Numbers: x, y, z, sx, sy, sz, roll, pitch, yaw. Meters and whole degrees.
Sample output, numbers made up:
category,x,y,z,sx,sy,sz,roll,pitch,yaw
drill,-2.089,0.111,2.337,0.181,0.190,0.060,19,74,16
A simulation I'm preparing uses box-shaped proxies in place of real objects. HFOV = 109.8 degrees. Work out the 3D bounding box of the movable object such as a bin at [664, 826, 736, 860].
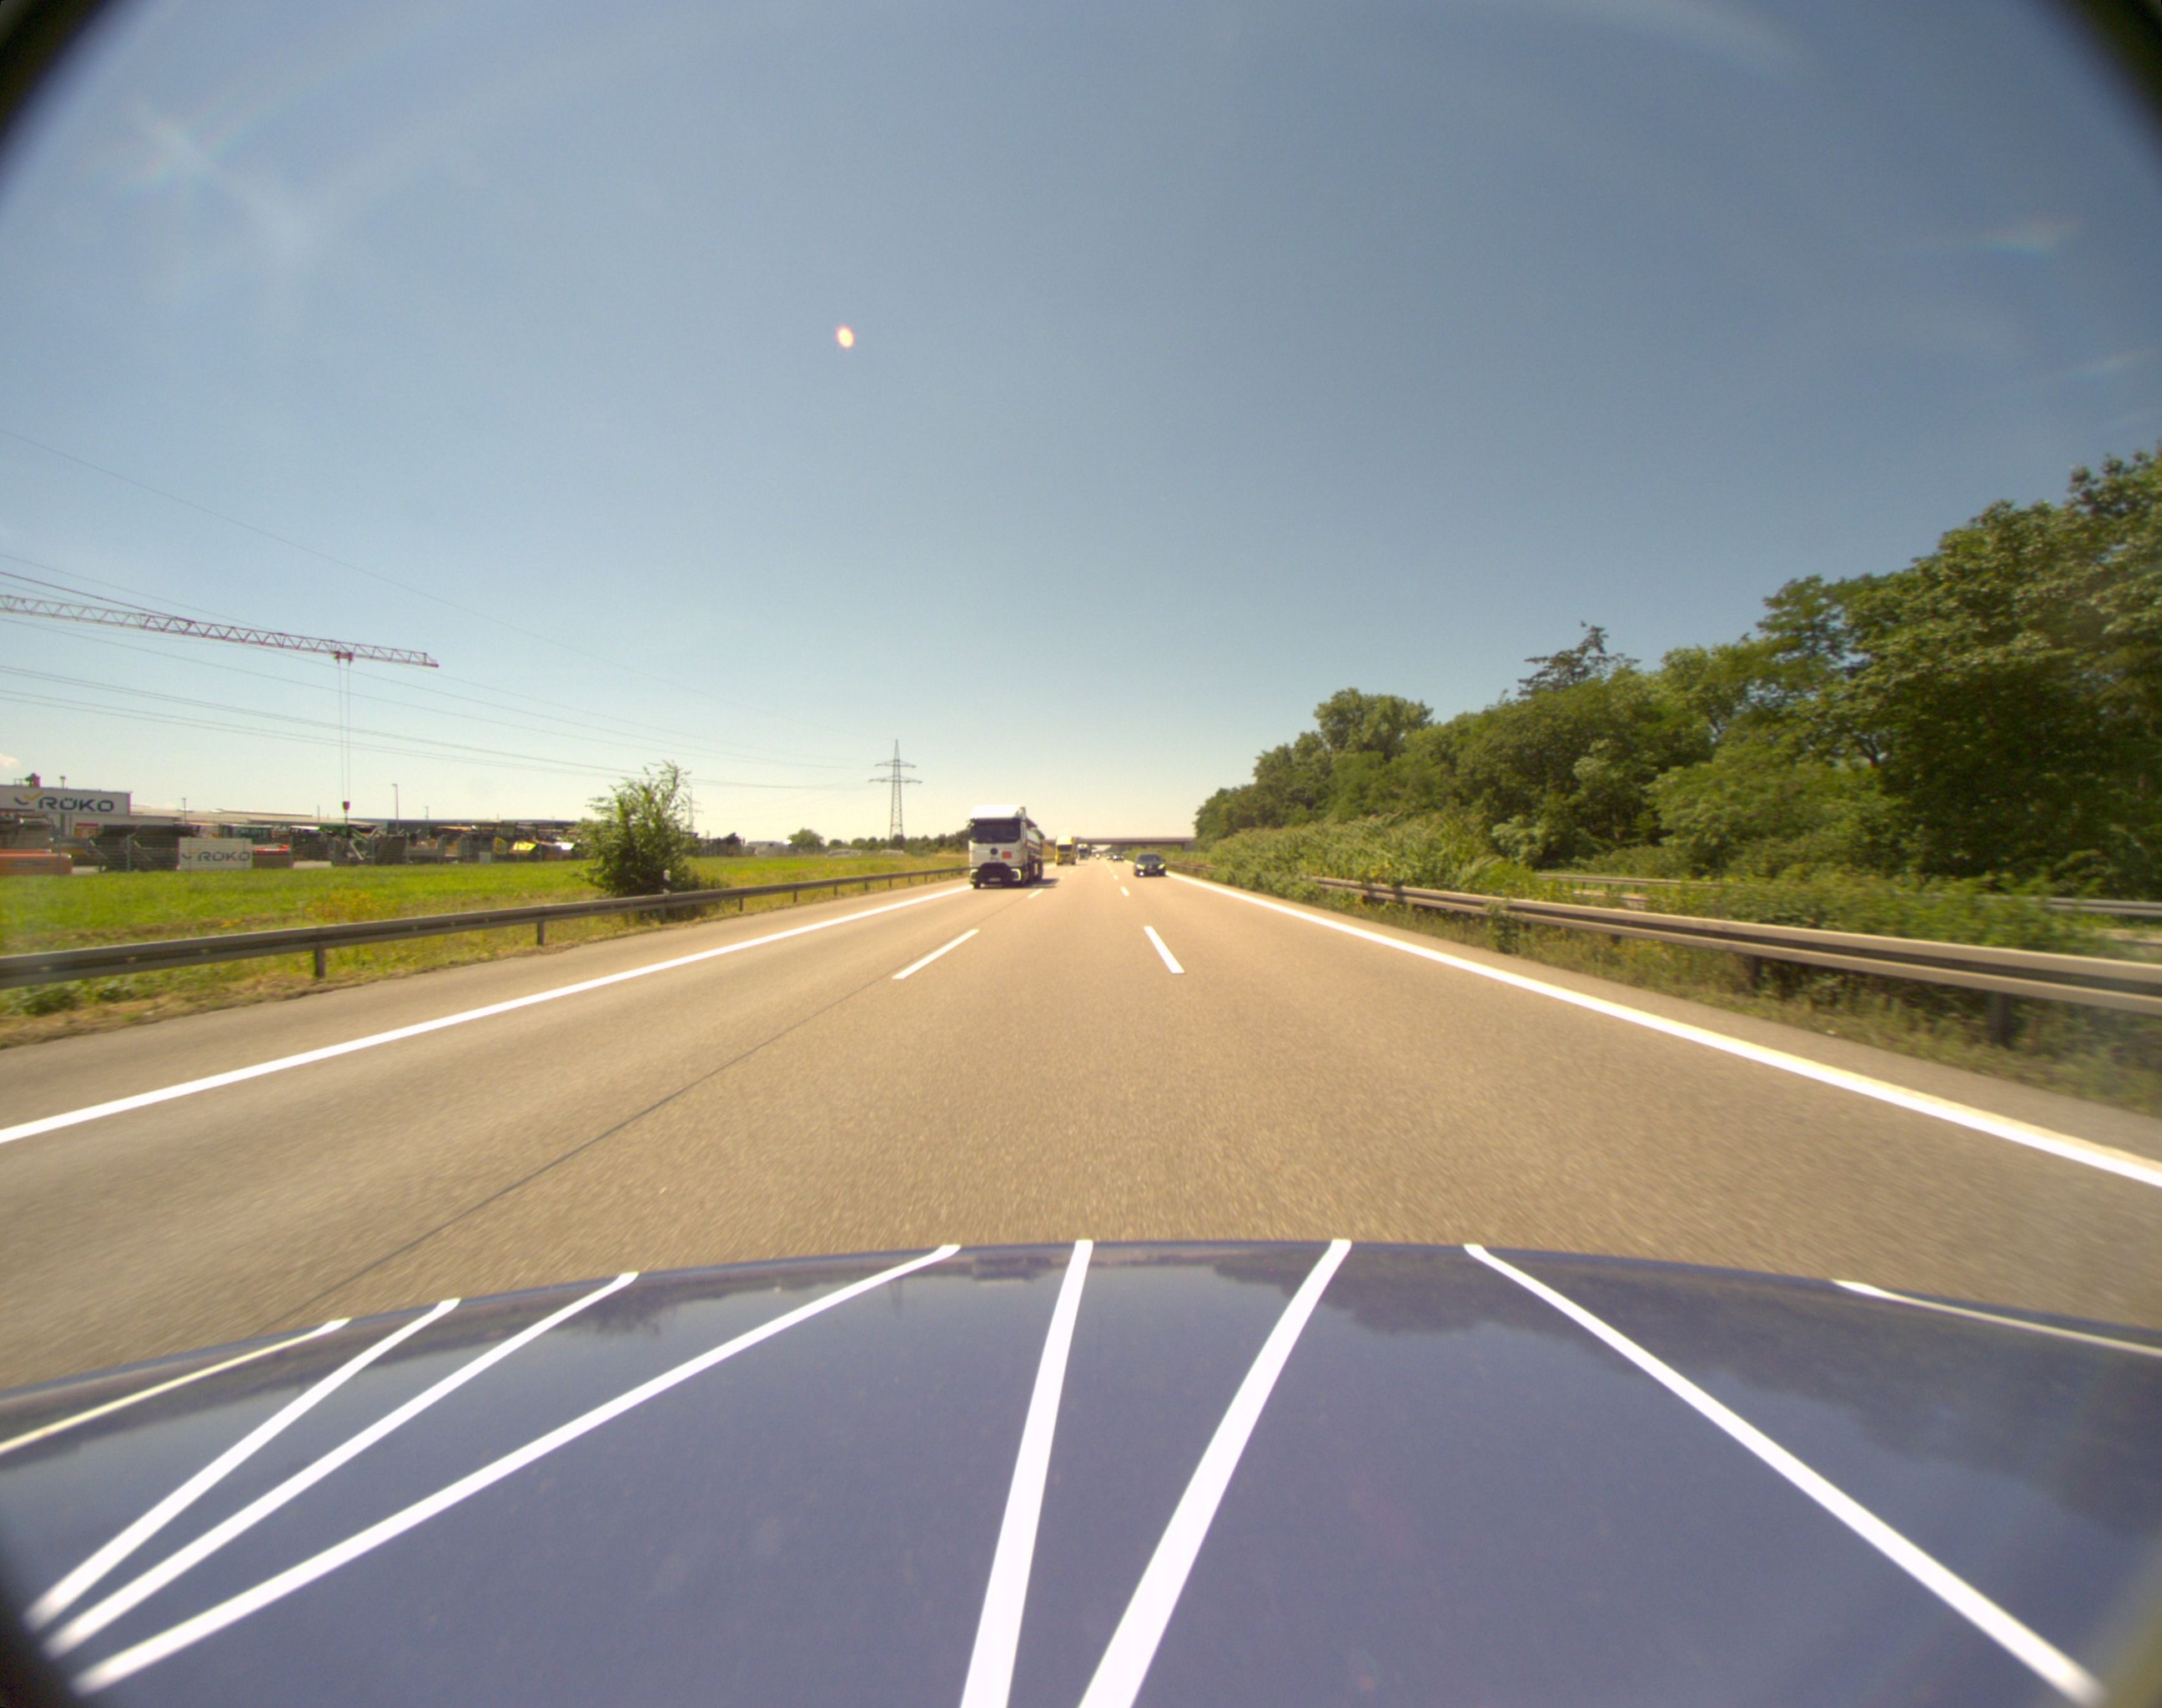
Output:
category,x,y,z,sx,sy,sz,roll,pitch,yaw
movable object such as a bin,-51.514,-1.476,102.919,8.112,4.349,2.881,-2,1,3

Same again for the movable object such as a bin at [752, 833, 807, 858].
category,x,y,z,sx,sy,sz,roll,pitch,yaw
movable object such as a bin,-51.667,-1.507,130.209,8.112,3.916,2.881,-2,1,3

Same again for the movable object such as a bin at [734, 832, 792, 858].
category,x,y,z,sx,sy,sz,roll,pitch,yaw
movable object such as a bin,-51.937,-1.434,124.041,8.112,3.916,2.881,-2,1,3

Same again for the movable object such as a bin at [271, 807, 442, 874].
category,x,y,z,sx,sy,sz,roll,pitch,yaw
movable object such as a bin,-53.419,-0.979,56.209,9.377,4.486,3.437,-2,1,3

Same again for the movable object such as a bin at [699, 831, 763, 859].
category,x,y,z,sx,sy,sz,roll,pitch,yaw
movable object such as a bin,-52.064,-1.319,113.156,8.112,3.916,2.881,-2,1,3

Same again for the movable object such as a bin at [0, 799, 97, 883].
category,x,y,z,sx,sy,sz,roll,pitch,yaw
movable object such as a bin,-55.726,-0.502,39.011,9.366,4.029,3.441,-2,1,19

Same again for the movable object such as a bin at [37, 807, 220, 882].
category,x,y,z,sx,sy,sz,roll,pitch,yaw
movable object such as a bin,-57.556,-0.508,45.942,9.368,4.029,3.440,-2,1,16

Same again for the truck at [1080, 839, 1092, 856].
category,x,y,z,sx,sy,sz,roll,pitch,yaw
truck,1.341,-1.711,199.408,2.977,4.240,12.610,0,1,1

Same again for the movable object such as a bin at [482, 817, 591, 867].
category,x,y,z,sx,sy,sz,roll,pitch,yaw
movable object such as a bin,-52.986,-1.176,74.065,8.112,4.486,3.351,-2,1,3

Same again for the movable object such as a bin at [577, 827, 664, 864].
category,x,y,z,sx,sy,sz,roll,pitch,yaw
movable object such as a bin,-52.850,-0.999,87.306,8.112,3.883,2.881,-2,1,3

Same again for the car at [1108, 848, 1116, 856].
category,x,y,z,sx,sy,sz,roll,pitch,yaw
car,6.817,-0.490,167.622,1.861,1.696,4.000,0,1,1

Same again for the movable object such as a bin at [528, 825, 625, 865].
category,x,y,z,sx,sy,sz,roll,pitch,yaw
movable object such as a bin,-52.523,-0.928,79.234,8.112,3.883,2.881,-2,1,3

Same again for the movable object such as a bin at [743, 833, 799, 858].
category,x,y,z,sx,sy,sz,roll,pitch,yaw
movable object such as a bin,-51.823,-1.470,127.125,8.112,3.916,2.881,-2,1,3

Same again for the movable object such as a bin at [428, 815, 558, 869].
category,x,y,z,sx,sy,sz,roll,pitch,yaw
movable object such as a bin,-54.186,-1.095,70.203,9.377,4.486,3.437,-2,1,3

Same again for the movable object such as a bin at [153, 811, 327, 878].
category,x,y,z,sx,sy,sz,roll,pitch,yaw
movable object such as a bin,-56.058,-0.588,50.719,9.370,4.029,3.439,-2,1,13

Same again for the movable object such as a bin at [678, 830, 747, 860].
category,x,y,z,sx,sy,sz,roll,pitch,yaw
movable object such as a bin,-51.489,-1.270,106.385,8.112,3.916,2.881,-2,1,3

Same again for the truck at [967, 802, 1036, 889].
category,x,y,z,sx,sy,sz,roll,pitch,yaw
truck,-3.795,-0.428,37.439,2.573,3.871,5.722,-2,1,1

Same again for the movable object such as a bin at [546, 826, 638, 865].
category,x,y,z,sx,sy,sz,roll,pitch,yaw
movable object such as a bin,-53.036,-0.944,82.560,8.112,3.883,2.881,-2,1,3

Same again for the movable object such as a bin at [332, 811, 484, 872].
category,x,y,z,sx,sy,sz,roll,pitch,yaw
movable object such as a bin,-54.889,-0.988,62.135,9.377,4.486,3.437,-2,1,3

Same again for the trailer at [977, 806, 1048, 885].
category,x,y,z,sx,sy,sz,roll,pitch,yaw
trailer,-3.667,-0.504,44.162,2.573,3.871,13.279,-2,1,1

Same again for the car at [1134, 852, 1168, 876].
category,x,y,z,sx,sy,sz,roll,pitch,yaw
car,4.431,0.610,48.411,1.808,1.385,4.000,-1,1,1

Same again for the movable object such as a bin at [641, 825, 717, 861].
category,x,y,z,sx,sy,sz,roll,pitch,yaw
movable object such as a bin,-51.889,-1.382,98.208,8.112,4.349,2.881,-2,1,3

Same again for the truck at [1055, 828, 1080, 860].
category,x,y,z,sx,sy,sz,roll,pitch,yaw
truck,-1.820,-1.352,107.606,2.977,4.240,12.610,0,1,1

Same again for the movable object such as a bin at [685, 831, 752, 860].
category,x,y,z,sx,sy,sz,roll,pitch,yaw
movable object such as a bin,-52.279,-1.228,109.739,8.112,3.883,2.881,-2,1,3

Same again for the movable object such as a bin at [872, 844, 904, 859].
category,x,y,z,sx,sy,sz,roll,pitch,yaw
movable object such as a bin,-53.361,-0.775,210.109,8.112,3.916,2.881,-2,1,3

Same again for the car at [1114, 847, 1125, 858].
category,x,y,z,sx,sy,sz,roll,pitch,yaw
car,6.644,-0.269,131.391,1.861,1.696,4.000,0,1,1
